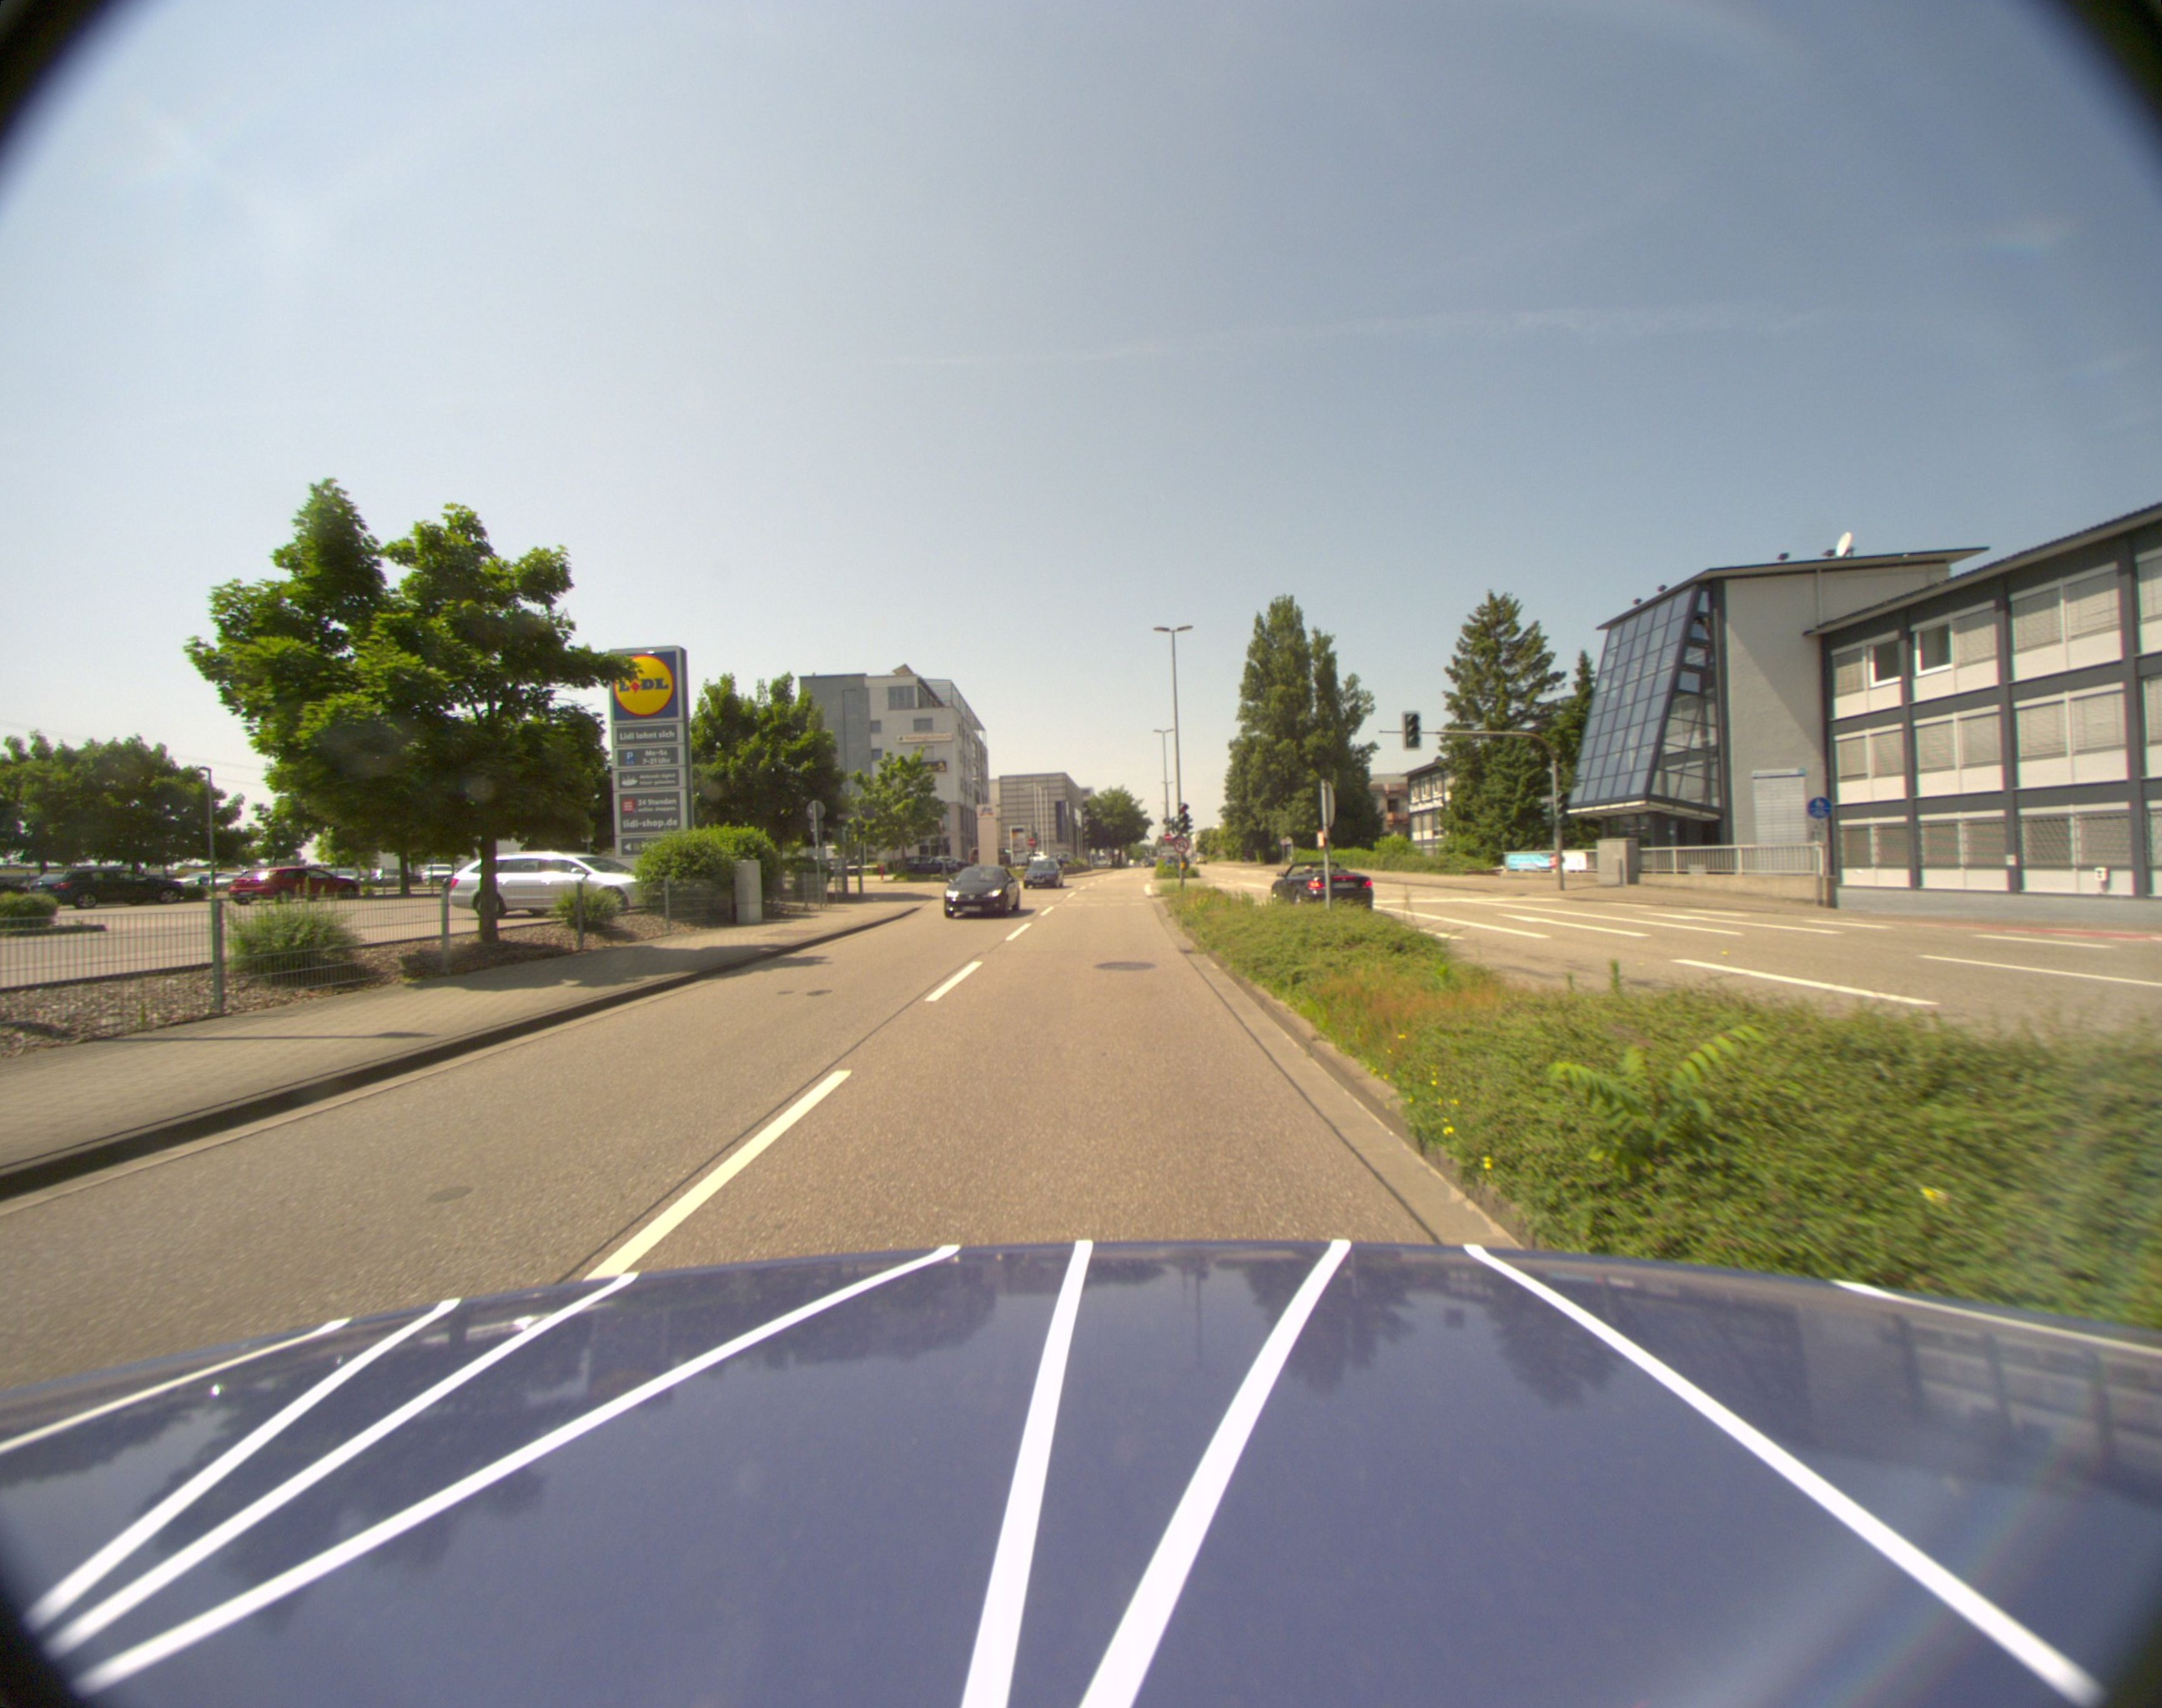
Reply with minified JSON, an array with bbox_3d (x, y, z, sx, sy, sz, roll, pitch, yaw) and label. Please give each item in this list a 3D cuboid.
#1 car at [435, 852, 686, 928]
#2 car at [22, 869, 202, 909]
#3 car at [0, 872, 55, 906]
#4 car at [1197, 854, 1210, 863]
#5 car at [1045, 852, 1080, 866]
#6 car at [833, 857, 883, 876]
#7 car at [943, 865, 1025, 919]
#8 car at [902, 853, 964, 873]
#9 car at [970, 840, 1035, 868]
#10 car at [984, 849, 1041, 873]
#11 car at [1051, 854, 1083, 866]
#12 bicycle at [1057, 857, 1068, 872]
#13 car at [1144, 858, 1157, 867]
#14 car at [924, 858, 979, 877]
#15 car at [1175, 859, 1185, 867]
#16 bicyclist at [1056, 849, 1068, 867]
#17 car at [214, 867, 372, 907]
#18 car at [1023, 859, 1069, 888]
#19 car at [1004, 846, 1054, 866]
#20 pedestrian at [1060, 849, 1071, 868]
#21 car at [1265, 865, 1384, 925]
[{"bbox_3d":[-11.875,0.792,17.537,4.588,1.496,1.698,-2,0,0],"label":"car"},{"bbox_3d":[-39.959,1.395,31.513,1.707,1.441,4.326,-1,0,6],"label":"car"},{"bbox_3d":[-46.437,1.490,31.911,1.790,1.382,3.612,-1,0,1],"label":"car"},{"bbox_3d":[22.591,0.851,140.359,1.898,1.551,4.288,-1,0,3],"label":"car"},{"bbox_3d":[-2.273,0.636,94.100,4.135,1.477,1.759,-3,0,5],"label":"car"},{"bbox_3d":[-18.856,1.043,64.392,1.995,1.477,4.006,-1,0,20],"label":"car"},{"bbox_3d":[-2.637,1.019,21.407,1.640,1.348,3.501,0,0,4],"label":"car"},{"bbox_3d":[-10.500,0.652,54.149,3.997,1.331,1.863,-1,0,0],"label":"car"},{"bbox_3d":[-6.299,0.016,61.204,4.704,1.787,2.184,-5,0,5],"label":"car"},{"bbox_3d":[-5.787,0.593,64.718,4.420,1.689,2.000,-5,1,4],"label":"car"},{"bbox_3d":[-1.824,0.788,100.977,4.135,1.477,1.759,-2,1,5],"label":"car"},{"bbox_3d":[-1.511,0.857,61.680,0.759,1.126,1.907,-3,0,-4],"label":"bicycle"},{"bbox_3d":[11.108,1.352,121.134,1.866,1.390,4.002,-1,0,7],"label":"car"},{"bbox_3d":[-9.928,1.060,58.373,3.881,1.331,1.756,-1,0,0],"label":"car"},{"bbox_3d":[19.523,1.731,149.910,1.763,1.410,4.092,-2,0,3],"label":"car"},{"bbox_3d":[-1.543,0.323,61.665,0.776,1.455,1.090,-3,0,-5],"label":"bicyclist"},{"bbox_3d":[-32.282,1.315,31.331,1.998,1.378,4.142,-3,0,3],"label":"car"},{"bbox_3d":[-1.719,0.942,38.196,1.710,1.316,3.957,-1,0,6],"label":"car"},{"bbox_3d":[-4.908,0.210,72.287,4.474,1.600,2.097,-3,1,2],"label":"car"},{"bbox_3d":[-1.325,0.369,65.256,0.830,1.616,1.005,-3,2,0],"label":"pedestrian"},{"bbox_3d":[6.099,0.971,19.537,1.733,1.316,4.149,-1,0,0],"label":"car"}]
